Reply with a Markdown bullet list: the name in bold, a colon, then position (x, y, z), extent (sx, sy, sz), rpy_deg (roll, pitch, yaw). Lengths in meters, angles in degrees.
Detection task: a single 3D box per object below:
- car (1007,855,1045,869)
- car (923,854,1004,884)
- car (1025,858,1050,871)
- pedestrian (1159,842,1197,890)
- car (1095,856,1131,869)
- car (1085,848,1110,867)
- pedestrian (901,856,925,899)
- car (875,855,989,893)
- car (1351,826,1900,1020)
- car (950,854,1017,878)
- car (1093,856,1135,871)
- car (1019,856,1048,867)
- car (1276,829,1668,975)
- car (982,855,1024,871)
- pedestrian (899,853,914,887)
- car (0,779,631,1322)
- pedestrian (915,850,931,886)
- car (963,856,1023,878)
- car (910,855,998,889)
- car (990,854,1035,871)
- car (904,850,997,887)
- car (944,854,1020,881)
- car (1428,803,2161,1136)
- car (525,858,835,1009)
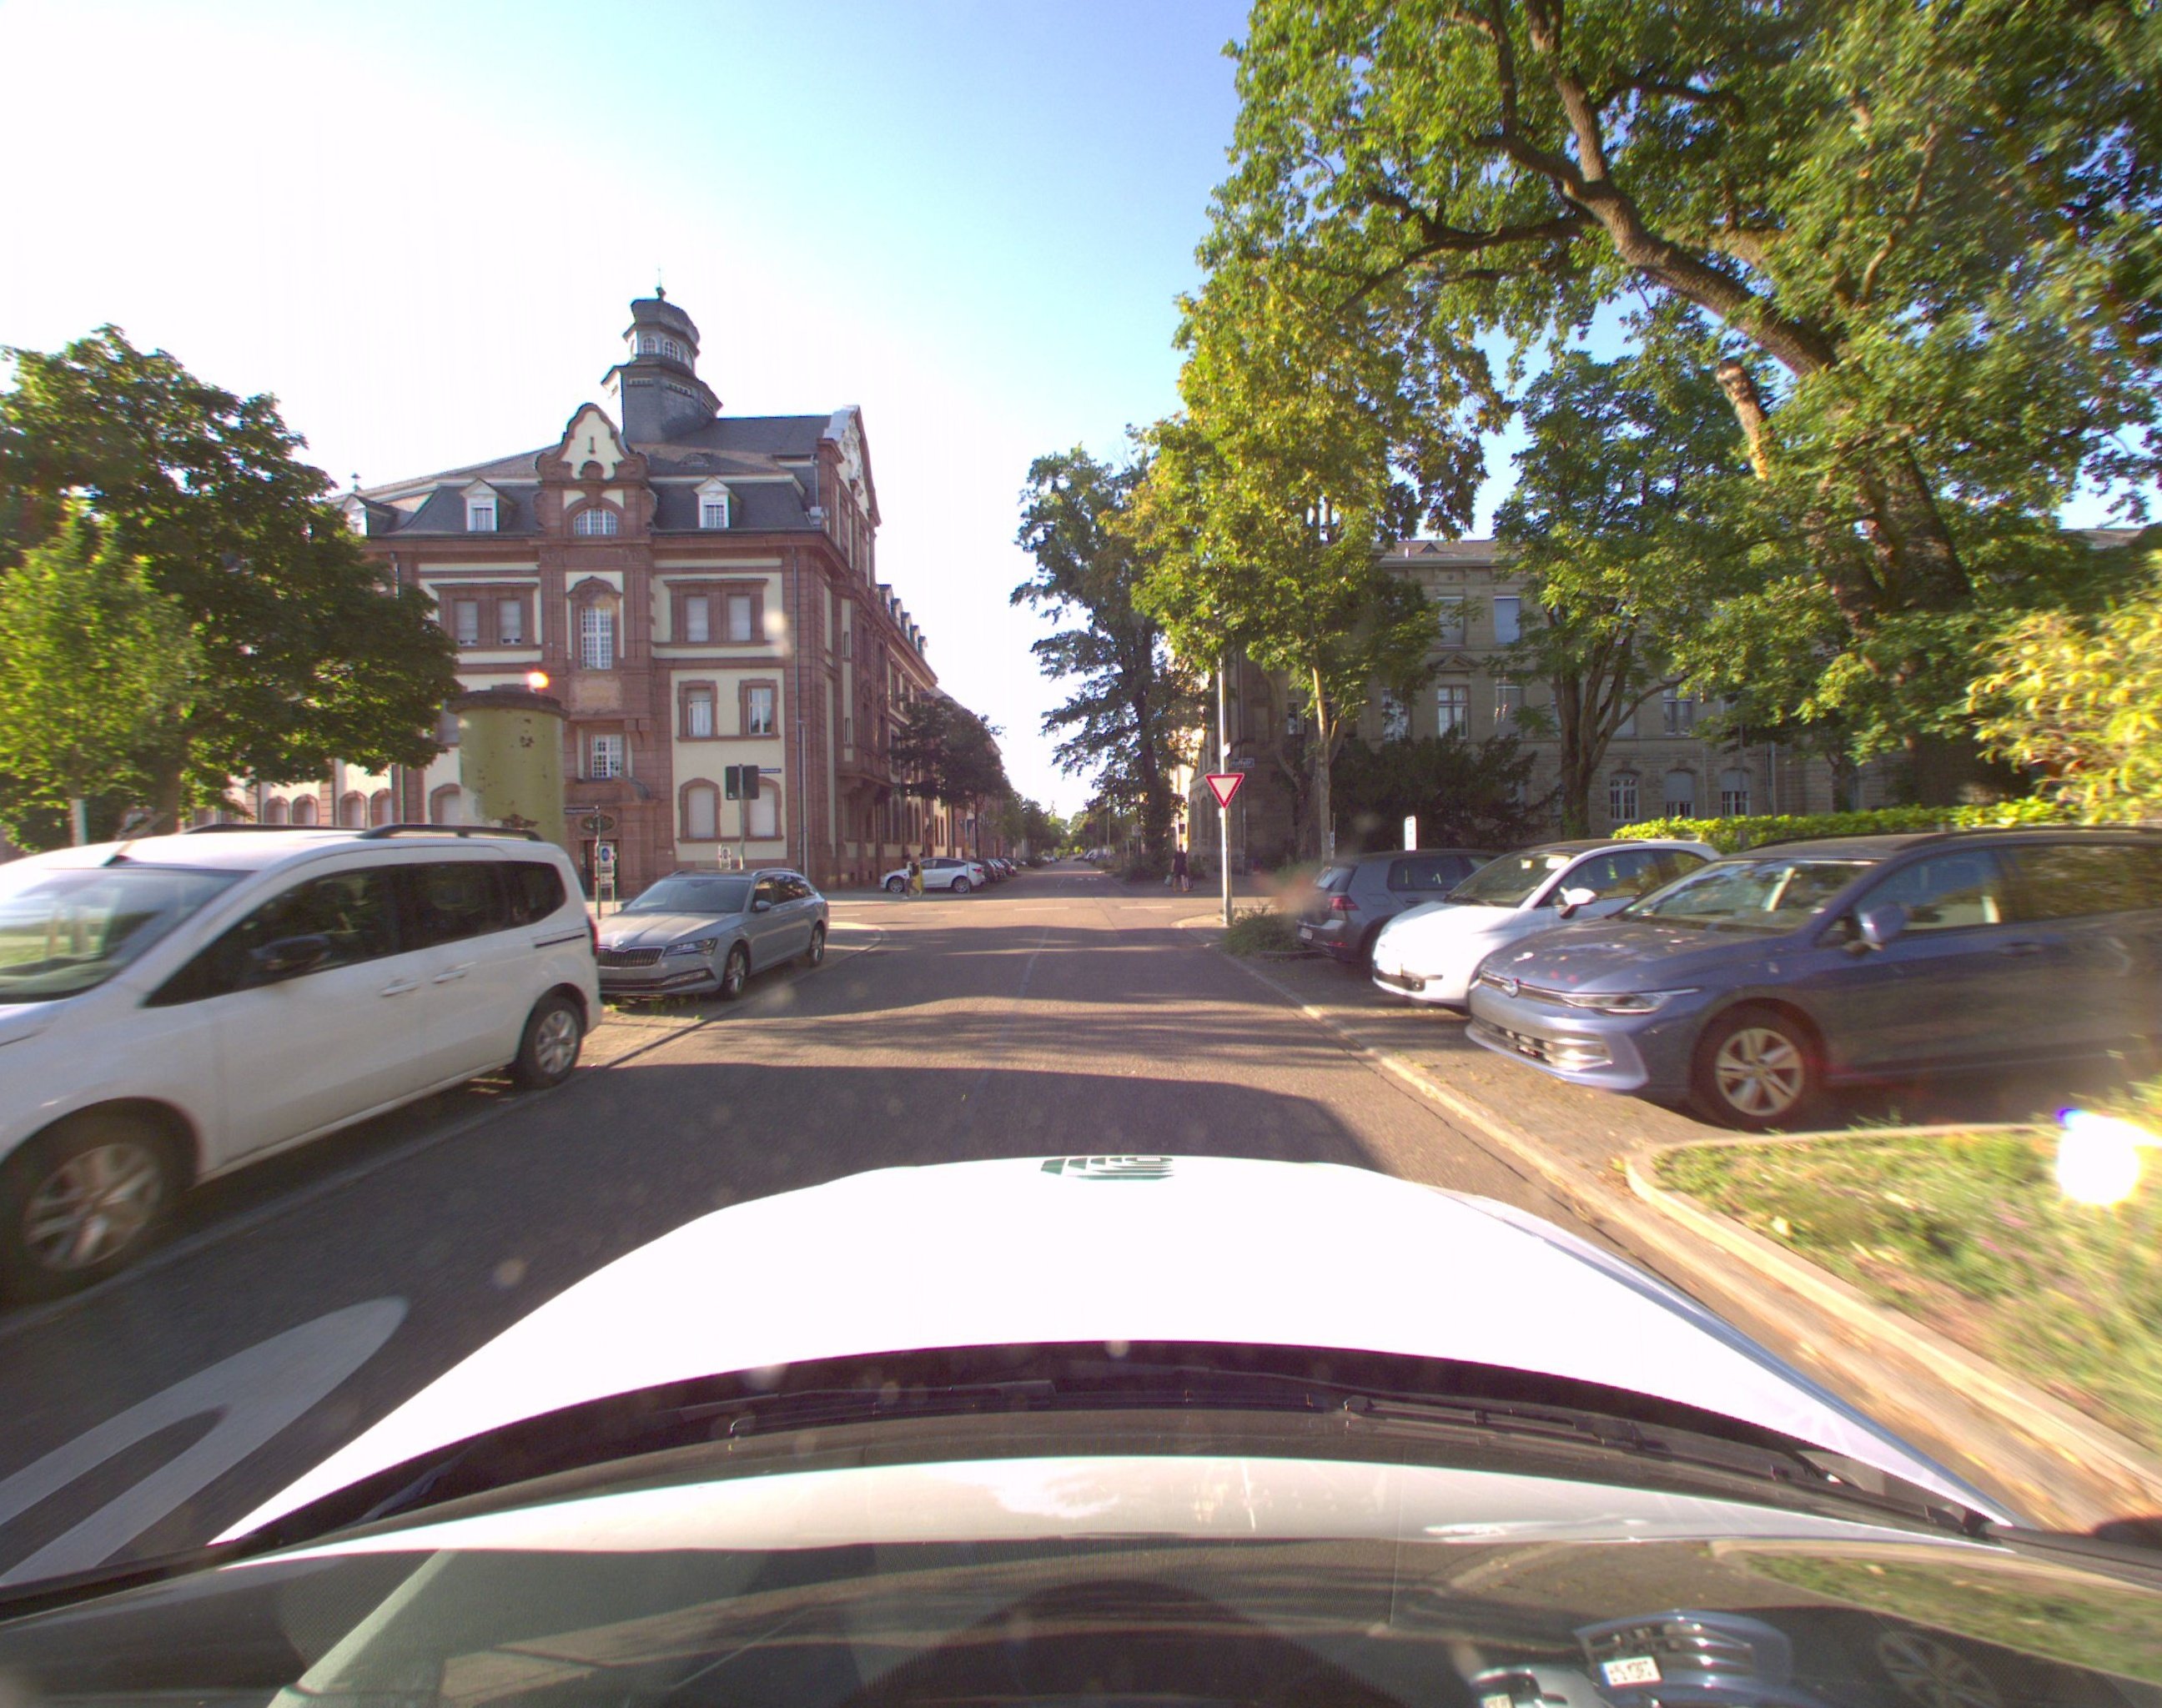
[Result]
- **car**: position (-6.645, 0.908, 98.107), extent (4.472, 1.608, 1.840), rpy_deg (-1, 0, -3)
- **car**: position (-6.746, 0.856, 47.129), extent (4.472, 1.608, 1.840), rpy_deg (-1, 0, -3)
- **car**: position (-8.021, 1.962, 149.459), extent (4.572, 2.264, 1.840), rpy_deg (-1, 0, -3)
- **pedestrian**: position (3.879, 0.479, 32.609), extent (1.067, 1.858, 0.992), rpy_deg (-1, -1, -32)
- **car**: position (4.197, 1.065, 107.595), extent (4.572, 1.608, 1.840), rpy_deg (-1, 0, -3)
- **car**: position (3.279, 0.739, 163.039), extent (4.872, 3.618, 1.841), rpy_deg (-1, 0, -2)
- **pedestrian**: position (-6.420, 0.886, 31.168), extent (0.784, 1.606, 0.719), rpy_deg (-1, -2, -7)
- **car**: position (-6.721, 0.876, 37.059), extent (4.831, 1.594, 1.840), rpy_deg (-1, 0, -3)
- **car**: position (4.750, 0.578, 7.562), extent (3.938, 1.516, 1.676), rpy_deg (-1, 0, 2)
- **car**: position (-6.759, 0.831, 56.738), extent (4.472, 1.608, 1.840), rpy_deg (-1, 0, -3)
- **car**: position (3.667, 1.044, 90.036), extent (4.472, 1.608, 1.840), rpy_deg (-1, 0, -3)
- **car**: position (-7.479, 1.177, 129.485), extent (4.572, 1.608, 1.840), rpy_deg (-1, 0, -3)
- **car**: position (4.630, 0.579, 10.135), extent (3.940, 1.517, 1.874), rpy_deg (-2, -2, 0)
- **car**: position (-8.412, 0.965, 88.037), extent (4.472, 1.608, 1.840), rpy_deg (-1, 0, -3)
- **pedestrian**: position (-10.002, 0.921, 46.678), extent (0.716, 1.962, 0.786), rpy_deg (-1, -2, -3)
- **car**: position (-4.585, 0.682, 4.416), extent (1.776, 1.841, 4.551), rpy_deg (-1, 0, -1)
- **pedestrian**: position (-8.755, 0.752, 45.067), extent (0.784, 1.962, 0.718), rpy_deg (-1, -2, -9)
- **car**: position (-6.704, 0.993, 62.346), extent (4.472, 1.608, 1.840), rpy_deg (-1, 0, -3)
- **car**: position (-6.781, 0.942, 43.769), extent (4.472, 1.717, 1.840), rpy_deg (-1, 0, -3)
- **car**: position (-7.061, 0.864, 84.413), extent (4.472, 1.608, 1.840), rpy_deg (-1, 0, -3)
- **car**: position (-6.589, 0.722, 41.605), extent (4.472, 1.717, 1.840), rpy_deg (-1, 0, -3)
- **car**: position (-6.081, 0.822, 50.381), extent (4.472, 1.608, 1.840), rpy_deg (-1, 0, -3)
- **car**: position (4.782, 0.535, 5.024), extent (4.481, 1.549, 1.889), rpy_deg (-1, 0, -4)
- **car**: position (-4.817, 0.830, 10.673), extent (1.775, 1.505, 4.552), rpy_deg (-1, 0, 0)
